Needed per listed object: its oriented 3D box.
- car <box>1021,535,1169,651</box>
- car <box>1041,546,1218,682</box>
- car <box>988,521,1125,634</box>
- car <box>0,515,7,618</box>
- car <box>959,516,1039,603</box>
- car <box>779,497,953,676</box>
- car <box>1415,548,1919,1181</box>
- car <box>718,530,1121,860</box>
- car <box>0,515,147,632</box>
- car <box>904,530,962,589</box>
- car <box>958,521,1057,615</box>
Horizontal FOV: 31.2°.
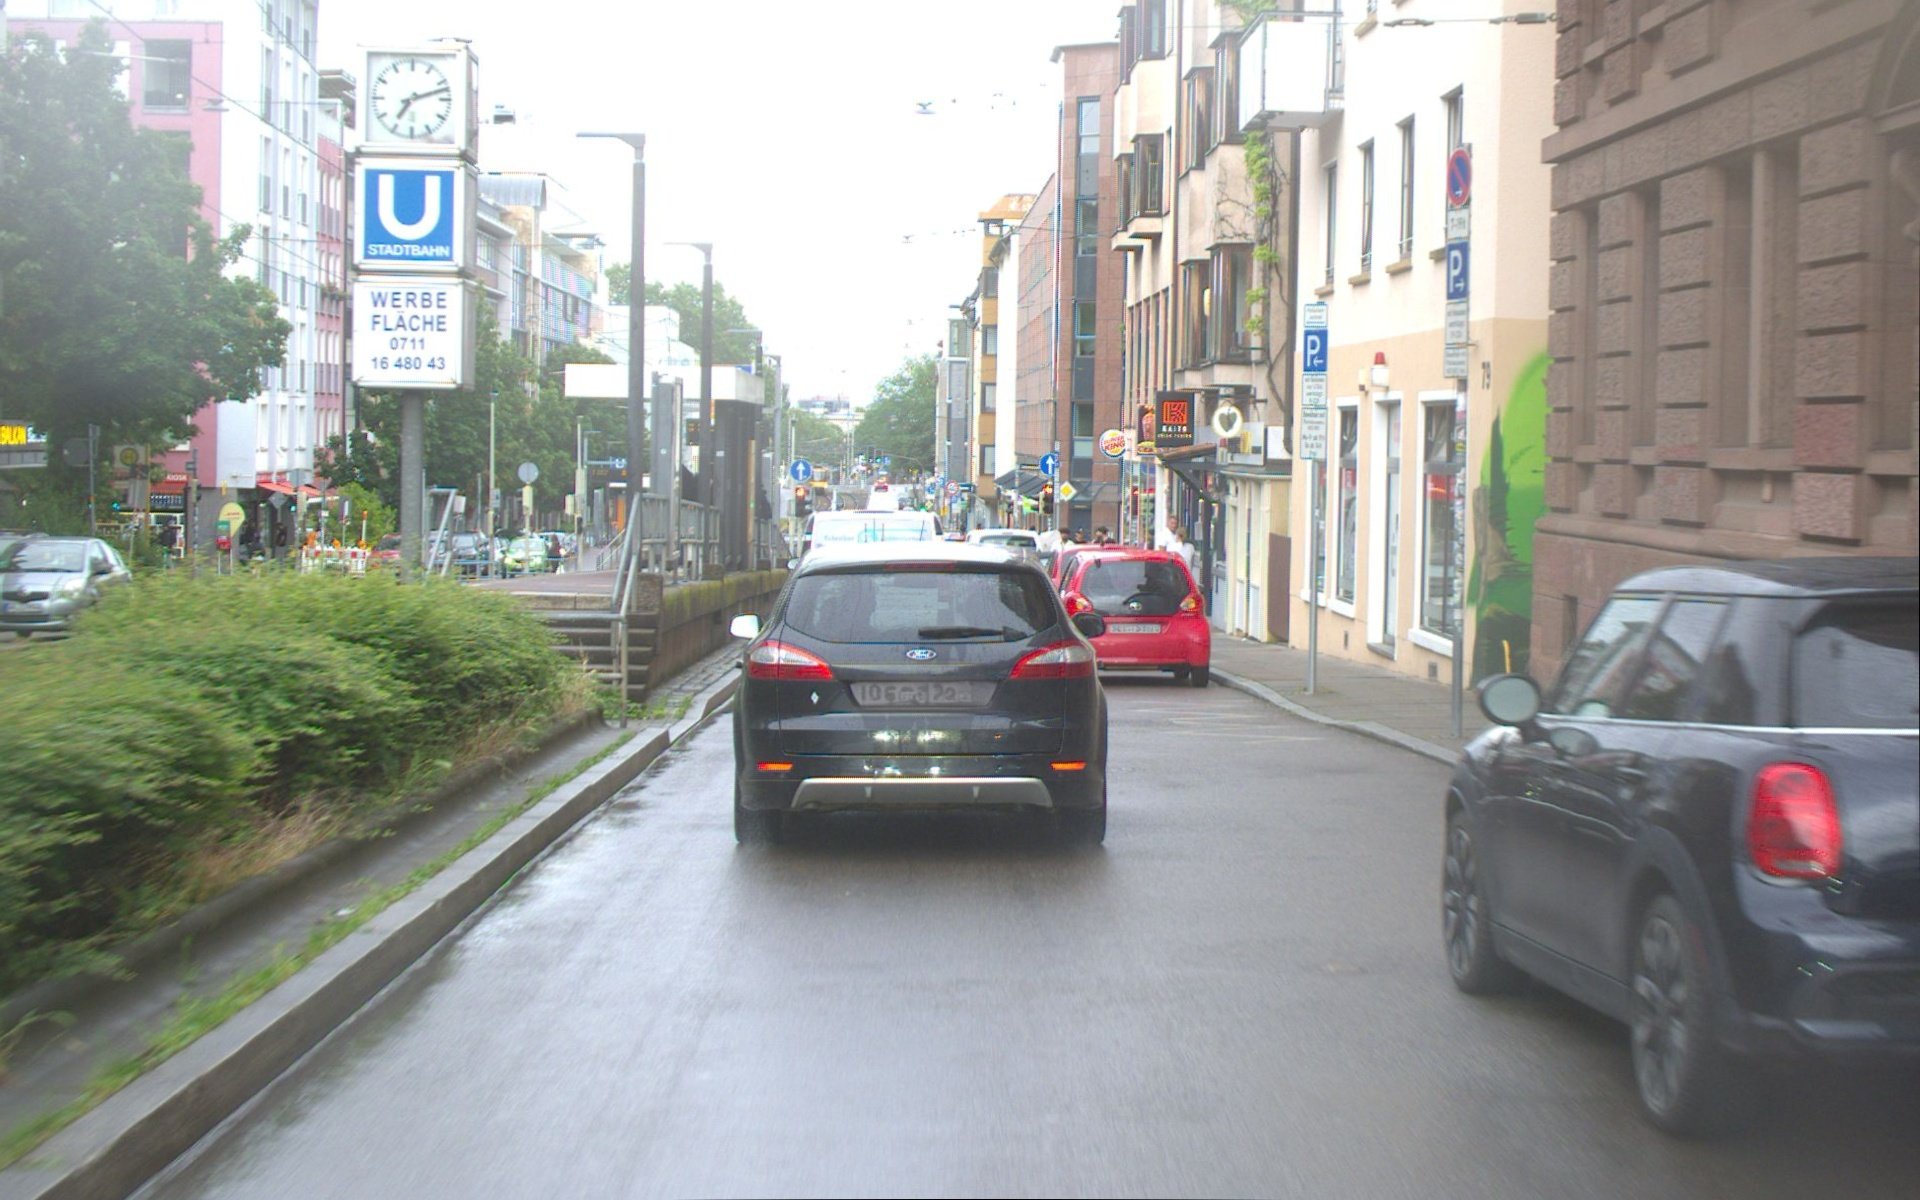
[{"bbox_3d":[1.700,-0.115,44.135,1.670,1.416,3.476,0,1,-1],"label":"car"},{"bbox_3d":[1.811,0.120,37.598,1.670,1.416,3.476,0,1,-1],"label":"car"},{"bbox_3d":[1.434,-0.316,52.535,1.858,1.579,3.779,3,-1,-1],"label":"car"},{"bbox_3d":[-16.045,-0.551,52.100,1.855,1.631,4.935,1,0,-1],"label":"car"},{"bbox_3d":[0.835,-0.869,76.038,1.591,1.775,3.779,3,-1,-1],"label":"car"},{"bbox_3d":[-1.125,-0.223,42.039,1.988,2.053,4.646,1,2,-1],"label":"car"},{"bbox_3d":[2.418,0.582,9.843,1.577,1.454,3.822,0,1,-2],"label":"car"},{"bbox_3d":[-0.292,0.406,17.701,1.842,1.502,4.001,0,1,-3],"label":"car"},{"bbox_3d":[-13.347,-0.379,50.550,1.855,1.631,4.046,1,0,-1],"label":"car"},{"bbox_3d":[-0.997,-1.462,125.713,1.993,2.007,4.000,3,-1,-1],"label":"car"},{"bbox_3d":[0.945,-0.626,70.240,1.839,1.775,3.779,3,-1,-1],"label":"car"}]
